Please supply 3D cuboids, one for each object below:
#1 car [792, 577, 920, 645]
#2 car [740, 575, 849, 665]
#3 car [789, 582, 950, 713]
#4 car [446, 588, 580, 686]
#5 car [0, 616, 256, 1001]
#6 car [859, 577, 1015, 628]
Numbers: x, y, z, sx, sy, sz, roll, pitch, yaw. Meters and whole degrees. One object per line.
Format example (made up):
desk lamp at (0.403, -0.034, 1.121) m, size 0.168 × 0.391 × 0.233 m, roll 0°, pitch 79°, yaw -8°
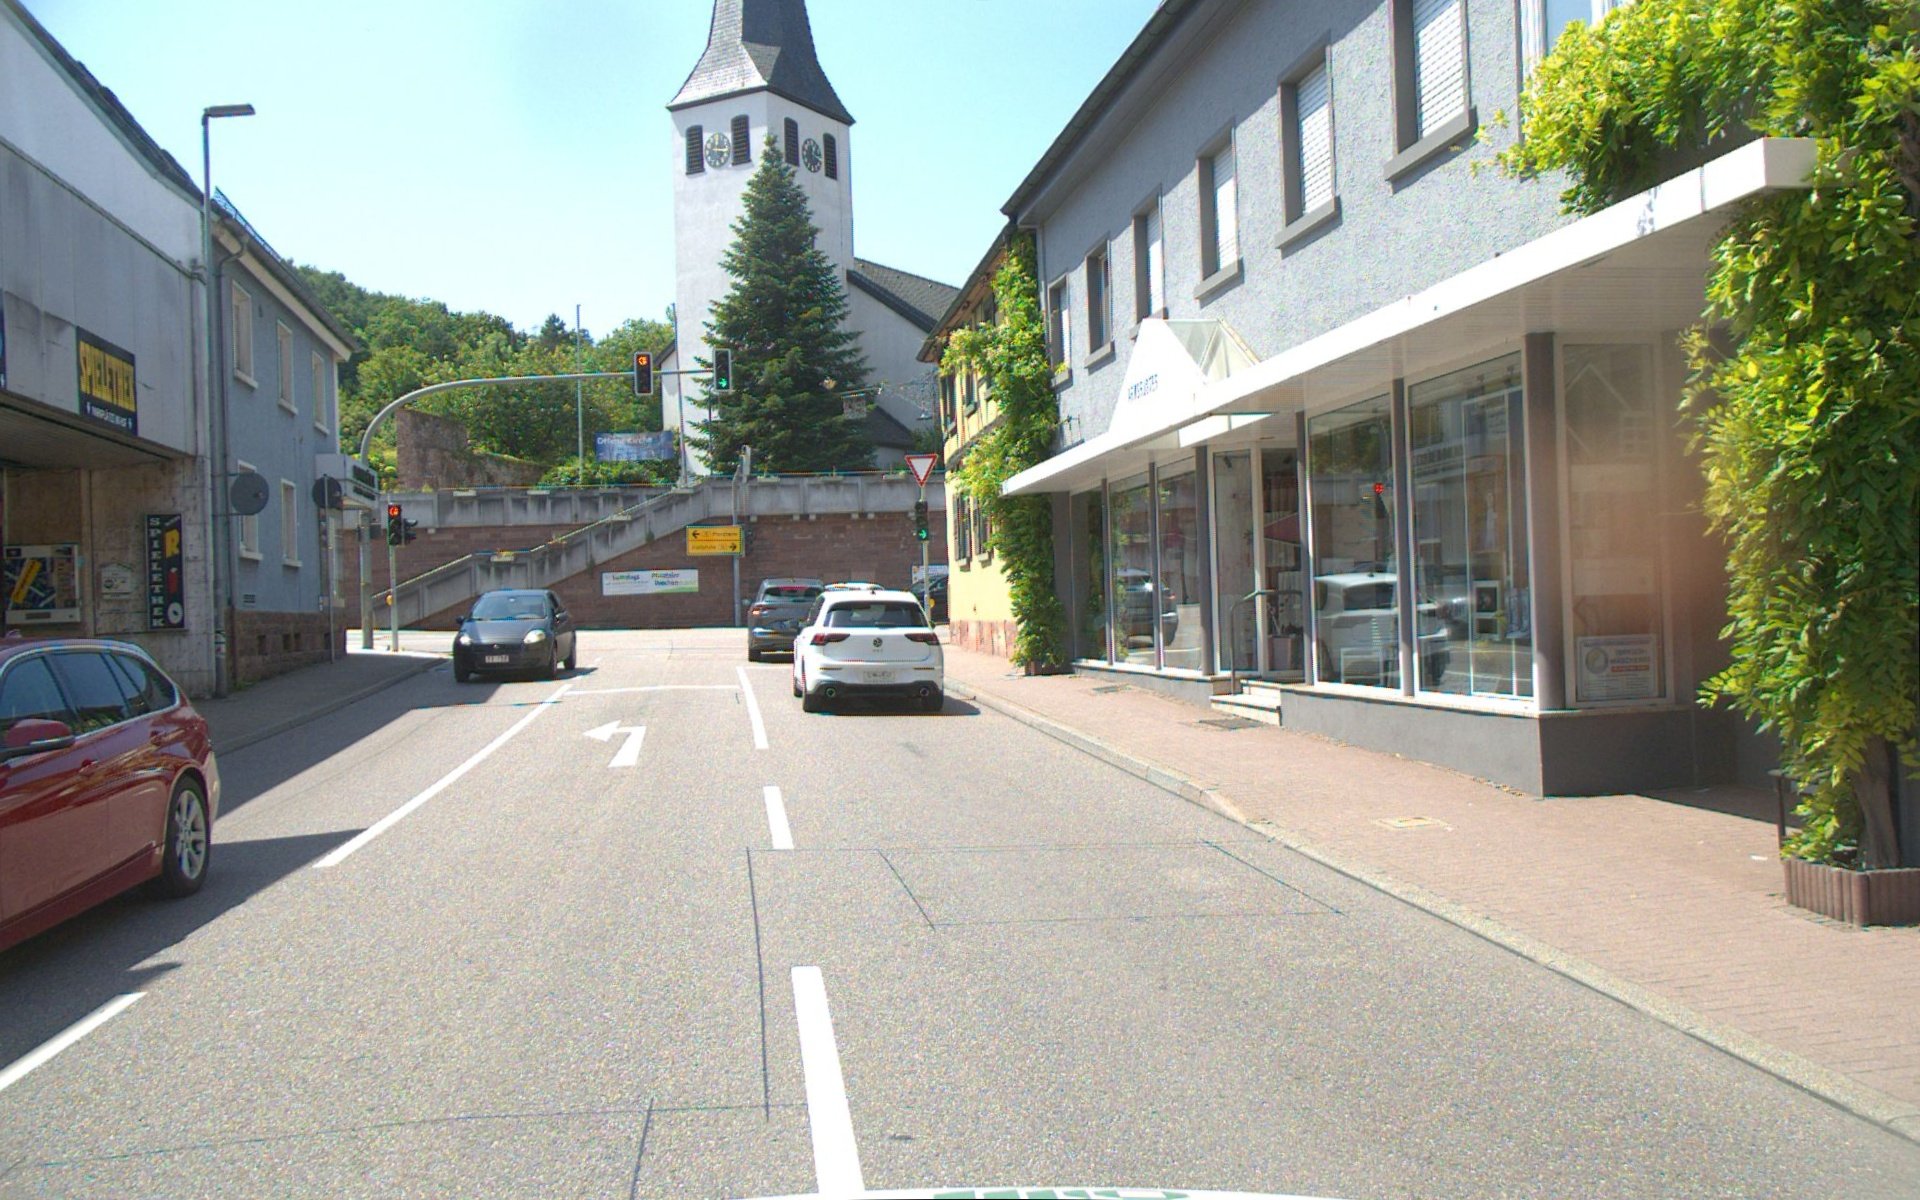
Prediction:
car at (-2.589, 0.237, 41.989) m, size 1.734 × 1.522 × 3.989 m, roll 0°, pitch 2°, yaw 21°
car at (-3.466, 0.352, 34.049) m, size 1.914 × 1.610 × 4.316 m, roll -1°, pitch 2°, yaw -10°
car at (-1.256, 0.554, 21.407) m, size 1.749 × 1.483 × 3.856 m, roll -2°, pitch 0°, yaw -8°
car at (-7.711, 0.592, 28.849) m, size 1.685 × 1.447 × 3.814 m, roll -3°, pitch 2°, yaw -8°
car at (-4.752, 0.910, 7.350) m, size 1.685 × 1.433 × 4.279 m, roll -4°, pitch 1°, yaw -6°
car at (-0.727, 0.056, 53.057) m, size 4.728 × 1.513 × 1.785 m, roll -1°, pitch 1°, yaw -29°
